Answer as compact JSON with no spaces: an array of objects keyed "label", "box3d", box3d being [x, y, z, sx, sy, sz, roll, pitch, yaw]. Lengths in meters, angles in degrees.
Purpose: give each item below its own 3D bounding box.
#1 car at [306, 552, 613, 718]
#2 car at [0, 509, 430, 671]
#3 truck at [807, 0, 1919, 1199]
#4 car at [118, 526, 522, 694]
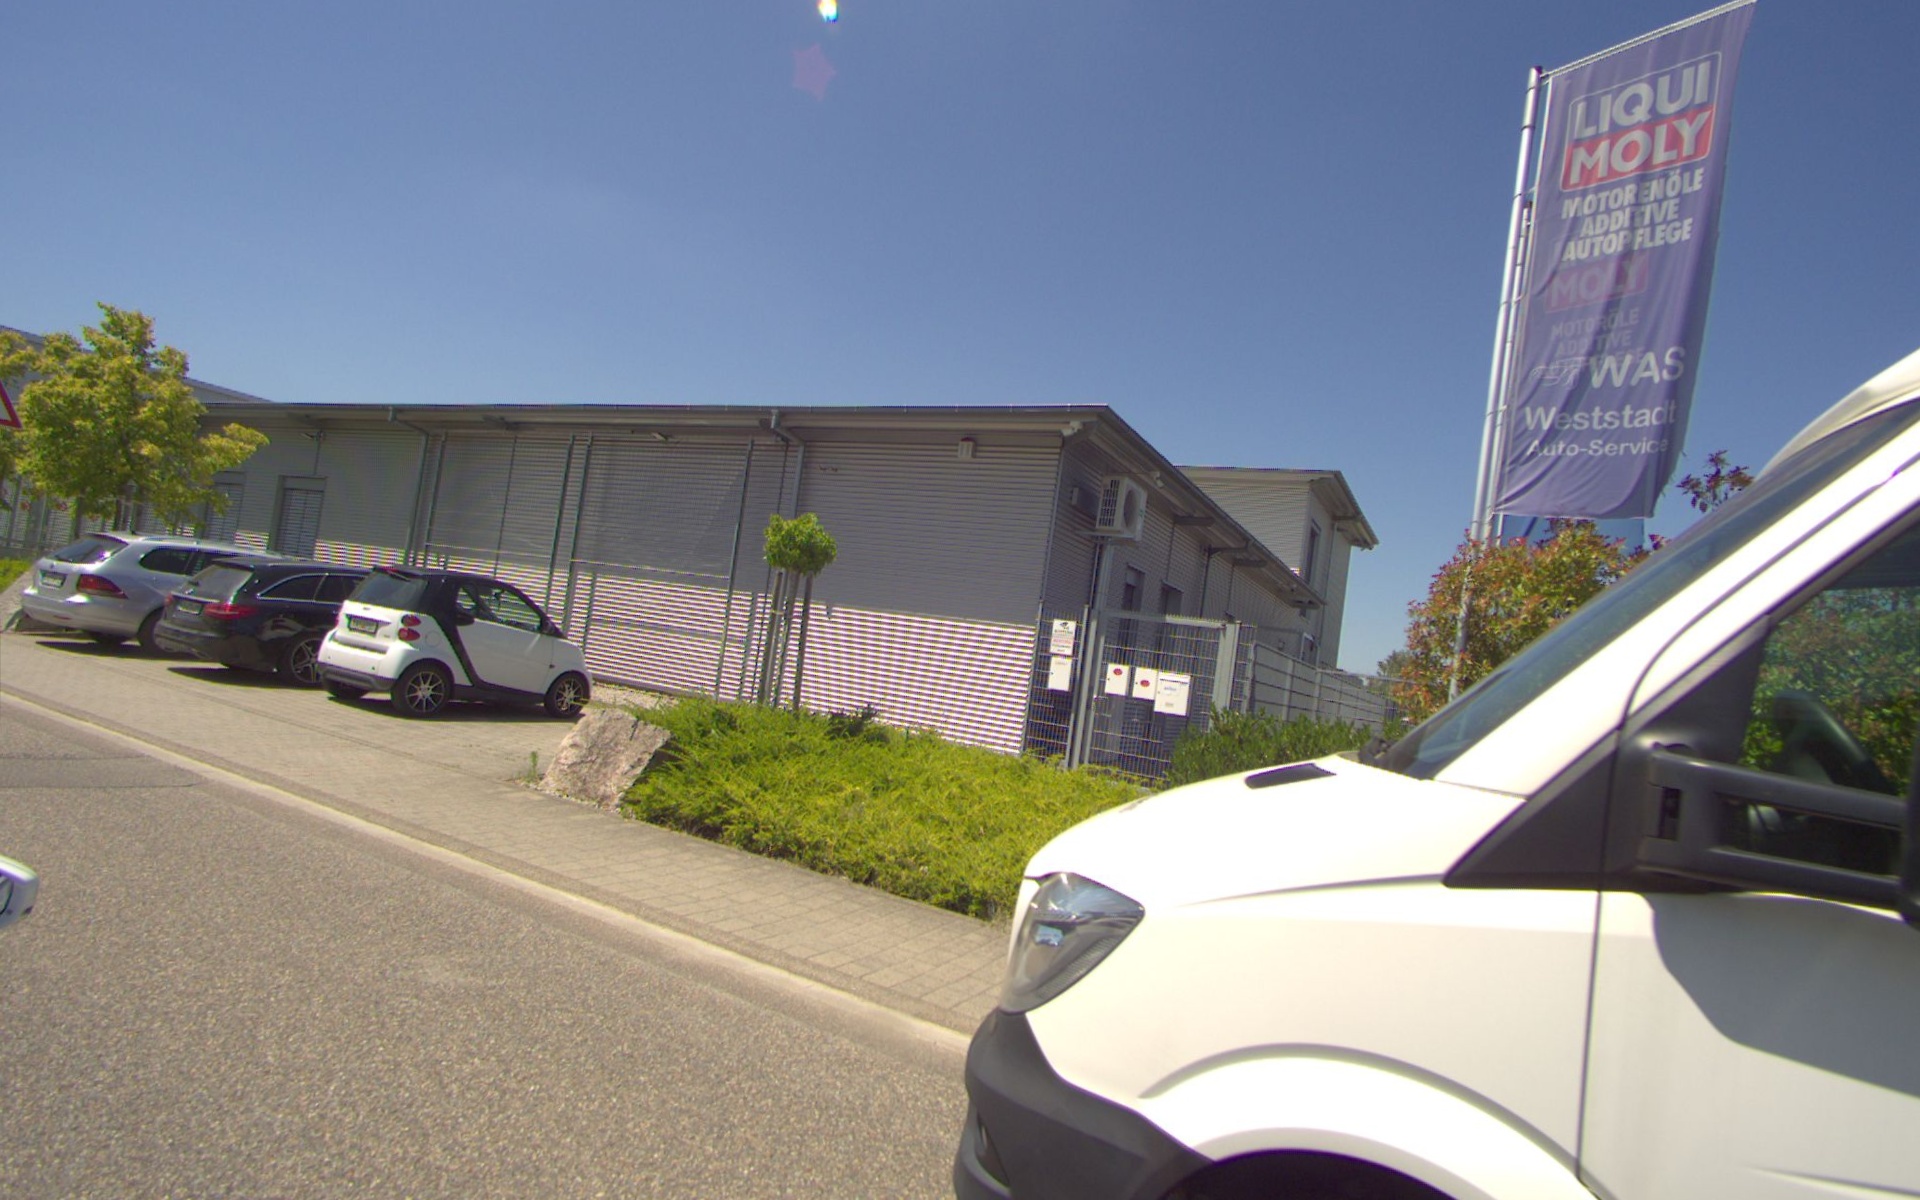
[{"label":"car","box3d":[-5.660,0.471,11.633,1.389,1.558,2.713,6,-3,30]},{"label":"car","box3d":[-9.996,-0.029,13.871,1.881,1.558,4.291,6,-3,30]},{"label":"truck","box3d":[3.374,0.463,1.108,6.766,3.241,2.464,6,-3,30]},{"label":"car","box3d":[-7.807,0.220,12.626,1.881,1.558,3.702,6,-3,30]}]
